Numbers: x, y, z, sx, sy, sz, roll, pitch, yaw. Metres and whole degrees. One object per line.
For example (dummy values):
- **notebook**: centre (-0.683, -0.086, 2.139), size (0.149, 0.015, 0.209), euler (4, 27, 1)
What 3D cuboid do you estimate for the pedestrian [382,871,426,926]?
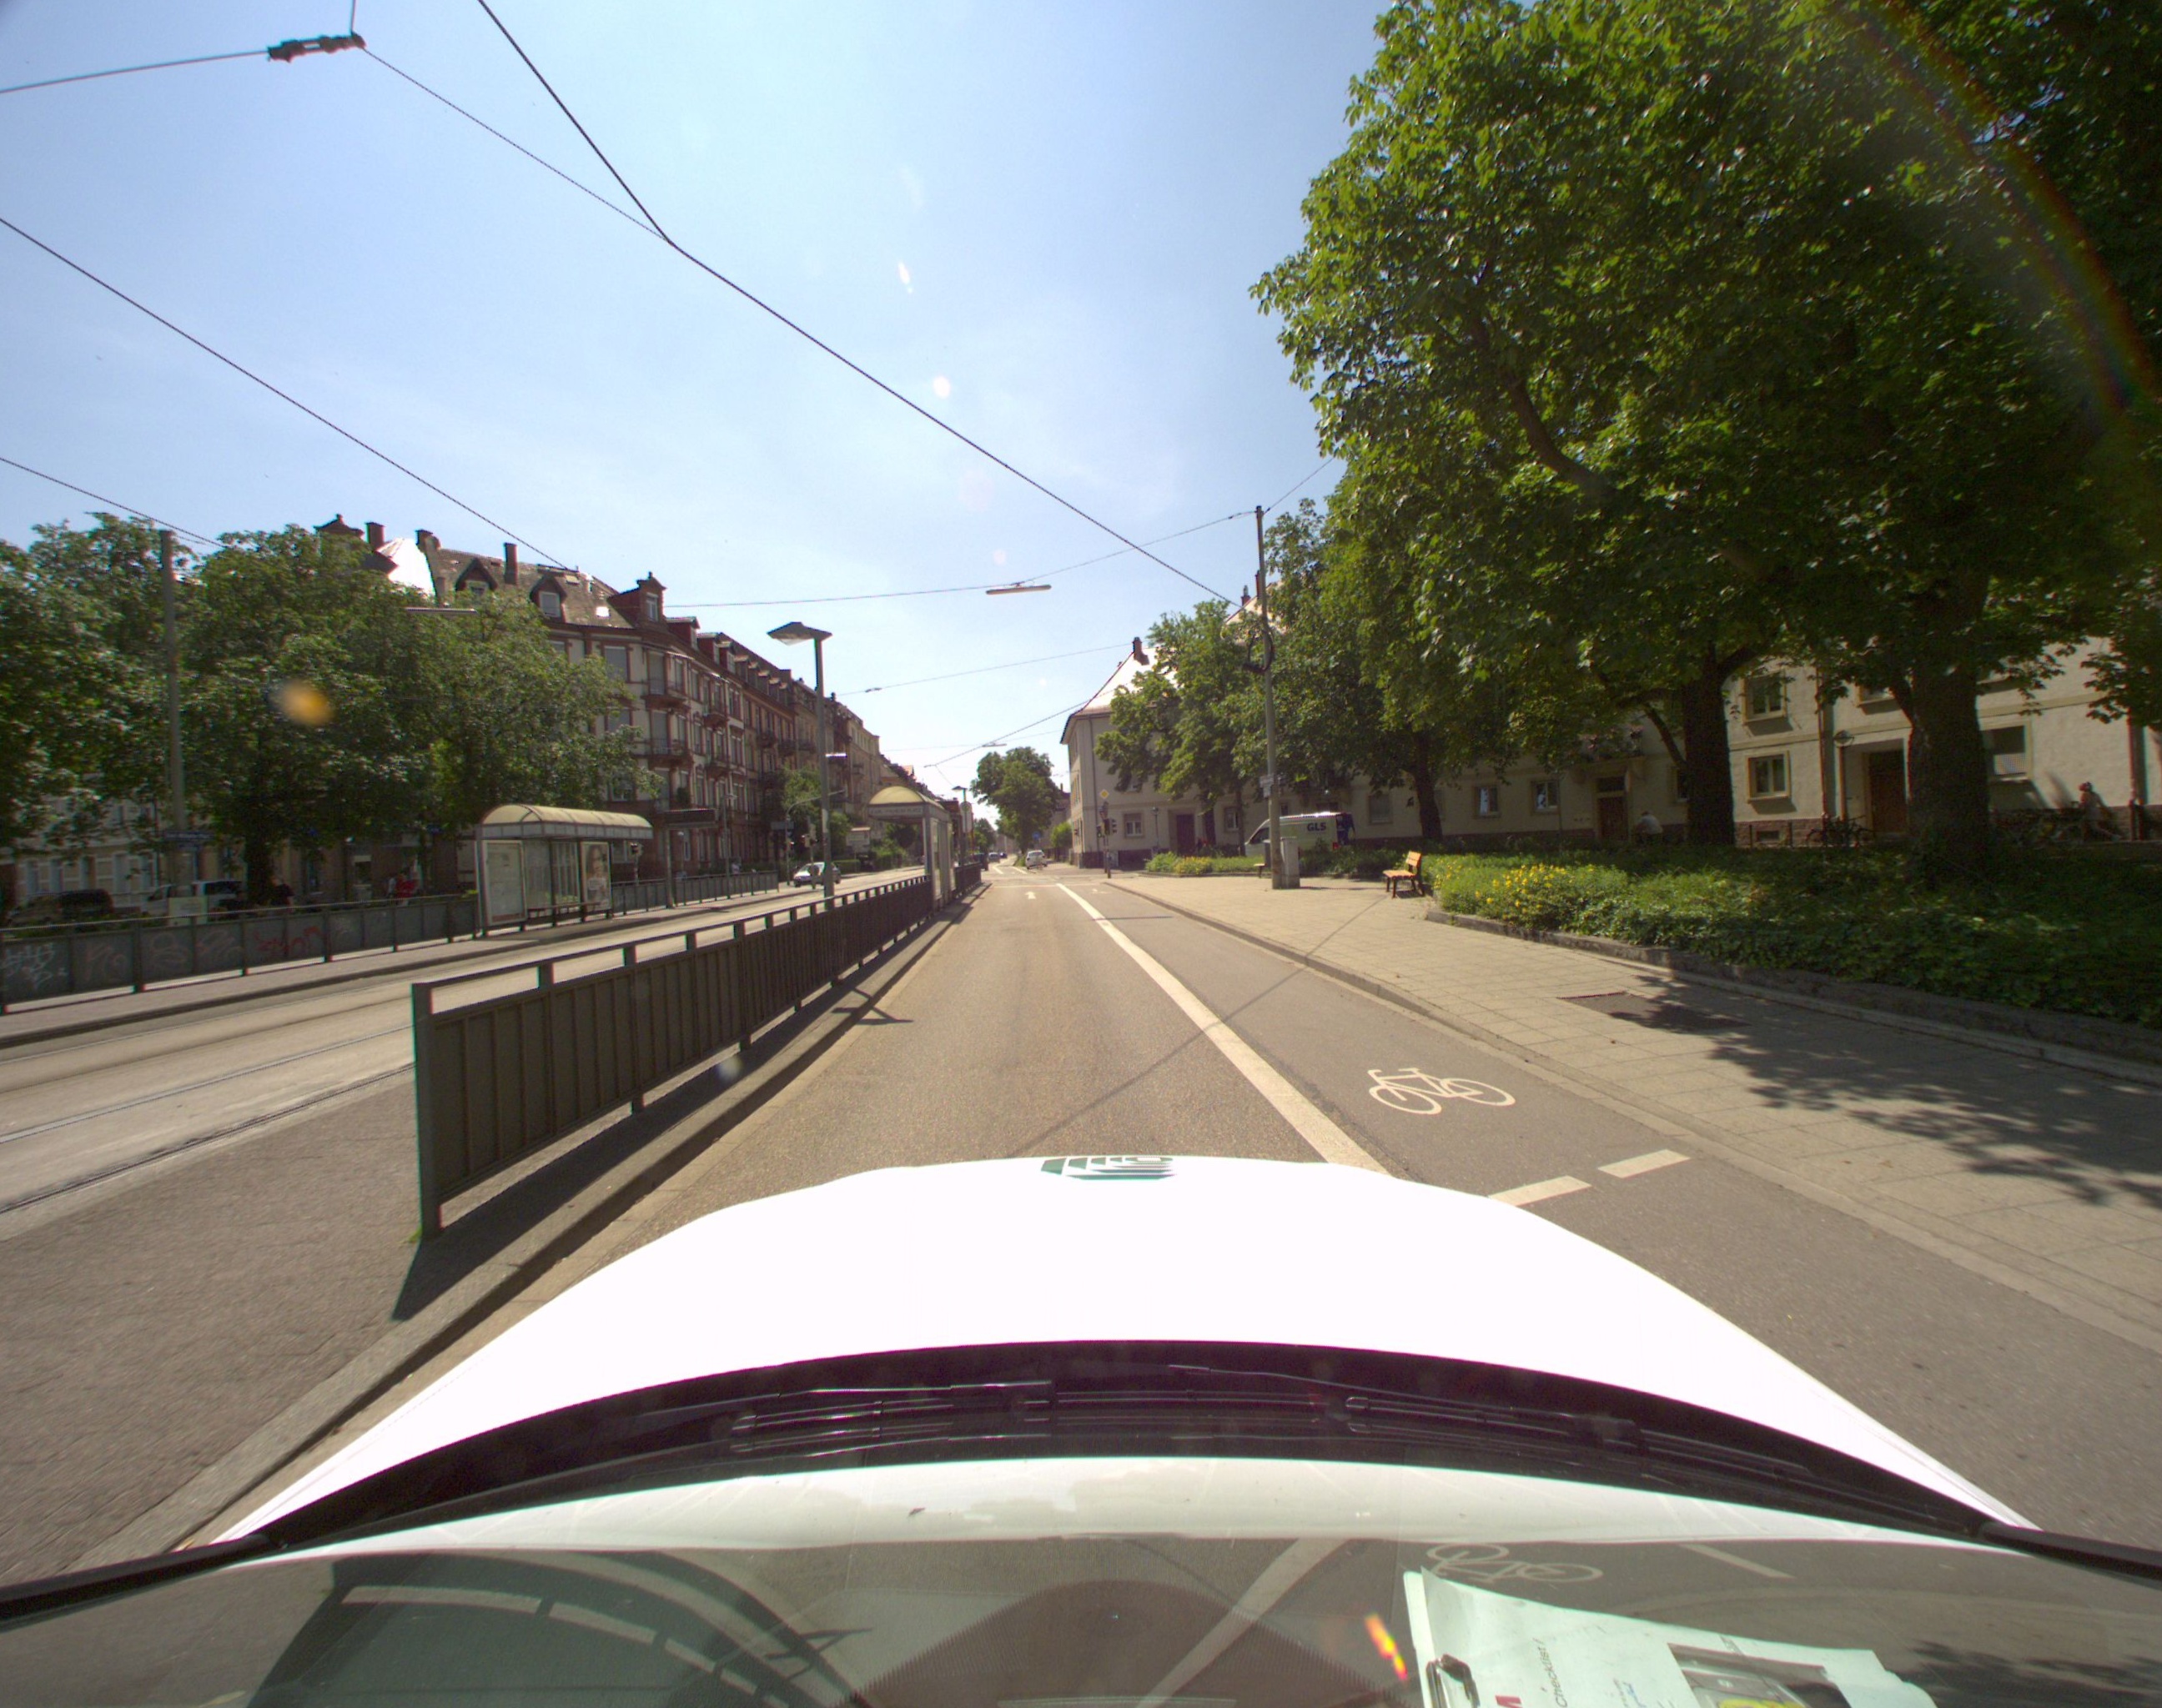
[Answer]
- **pedestrian**: centre (-20.525, 1.322, 24.692), size (0.679, 1.605, 0.771), euler (-2, -1, -8)

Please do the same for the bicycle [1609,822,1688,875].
- **bicycle**: centre (16.924, -0.153, 24.353), size (0.591, 1.485, 2.162), euler (-2, -1, -8)

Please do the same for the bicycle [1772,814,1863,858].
- **bicycle**: centre (24.139, -0.581, 26.707), size (2.309, 1.344, 0.516), euler (-2, -1, 6)

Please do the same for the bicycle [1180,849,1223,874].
- **bicycle**: centre (6.268, 0.392, 42.472), size (2.061, 1.236, 0.584), euler (-3, -1, 28)

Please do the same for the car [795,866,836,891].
- **car**: centre (-16.093, 1.458, 49.513), size (1.539, 1.338, 3.711), euler (-2, -1, -6)

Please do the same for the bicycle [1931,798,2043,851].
- **bicycle**: centre (24.142, -0.772, 21.722), size (2.140, 1.300, 0.548), euler (-2, -1, 6)

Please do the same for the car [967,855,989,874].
- **car**: centre (-8.578, 0.871, 68.090), size (1.522, 1.444, 3.359), euler (-4, 0, -4)

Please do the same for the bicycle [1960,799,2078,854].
- **bicycle**: centre (24.090, -0.700, 20.932), size (2.140, 1.300, 0.548), euler (-2, -1, 6)

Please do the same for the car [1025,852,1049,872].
- **car**: centre (-3.694, 0.644, 68.558), size (1.745, 1.472, 3.931), euler (-6, 0, -5)

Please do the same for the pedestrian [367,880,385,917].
- **pedestrian**: centre (-34.526, 2.172, 39.869), size (0.509, 1.768, 0.524), euler (-2, -1, -27)

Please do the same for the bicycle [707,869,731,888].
- **bicycle**: centre (-23.912, 1.638, 53.792), size (0.360, 1.169, 1.528), euler (-1, 1, 26)

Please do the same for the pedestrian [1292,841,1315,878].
- **pedestrian**: centre (6.791, 0.154, 24.893), size (0.507, 1.092, 0.478), euler (-5, 1, 1)

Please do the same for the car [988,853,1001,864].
- **car**: centre (-12.377, 0.671, 116.408), size (1.745, 1.473, 3.931), euler (-3, 0, -5)

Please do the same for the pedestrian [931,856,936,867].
- **pedestrian**: centre (-23.961, 1.280, 131.924), size (0.677, 1.727, 0.676), euler (-2, -1, -6)

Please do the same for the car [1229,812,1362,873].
- **car**: centre (10.007, -0.496, 38.441), size (2.012, 2.589, 5.778), euler (-3, 0, -44)

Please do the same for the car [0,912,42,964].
- **car**: centre (-34.727, 2.689, 24.955), size (1.579, 1.575, 3.573), euler (-2, 0, -12)

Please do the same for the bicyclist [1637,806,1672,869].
- **bicyclist**: centre (16.968, -0.481, 24.106), size (0.602, 1.799, 0.532), euler (-2, -1, -9)

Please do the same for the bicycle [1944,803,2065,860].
- **bicycle**: centre (22.855, -0.549, 20.181), size (2.140, 1.300, 0.548), euler (-2, -1, 6)

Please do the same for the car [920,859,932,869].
- **car**: centre (-27.610, 1.756, 144.889), size (1.683, 1.472, 3.928), euler (-6, 0, -7)

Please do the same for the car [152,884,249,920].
- **car**: centre (-39.324, 2.159, 36.377), size (3.698, 1.442, 1.549), euler (-2, -1, 19)

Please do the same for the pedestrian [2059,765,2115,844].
- **pedestrian**: centre (26.424, -1.283, 21.390), size (0.776, 2.014, 0.799), euler (-2, -1, -35)

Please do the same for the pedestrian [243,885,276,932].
- **pedestrian**: centre (-23.213, 1.535, 23.013), size (0.622, 1.287, 0.638), euler (-2, -1, -45)

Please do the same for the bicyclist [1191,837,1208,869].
- **bicyclist**: centre (6.188, -0.062, 42.512), size (0.687, 1.646, 0.584), euler (-3, -1, 29)

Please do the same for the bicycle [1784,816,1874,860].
- **bicycle**: centre (23.465, -0.498, 25.578), size (2.140, 1.300, 0.548), euler (-2, -1, 6)

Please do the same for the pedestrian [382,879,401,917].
- **pedestrian**: centre (-33.689, 2.153, 39.794), size (0.566, 1.825, 0.629), euler (-2, -1, -27)

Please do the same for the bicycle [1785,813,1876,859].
- **bicycle**: centre (24.015, -0.574, 26.115), size (2.224, 1.347, 0.516), euler (-2, -1, 6)

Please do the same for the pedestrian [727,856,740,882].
- **pedestrian**: centre (-22.176, 0.939, 51.975), size (0.463, 1.615, 0.657), euler (1, 2, 43)

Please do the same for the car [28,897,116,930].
- **car**: centre (-49.886, 2.942, 40.281), size (3.698, 1.442, 1.549), euler (-2, -1, 19)

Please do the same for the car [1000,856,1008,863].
- **car**: centre (-18.590, 1.390, 196.903), size (1.627, 1.472, 3.555), euler (-6, 0, -7)

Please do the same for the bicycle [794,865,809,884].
- **bicycle**: centre (-21.125, 1.544, 61.525), size (0.618, 1.395, 2.285), euler (-2, -1, -31)
